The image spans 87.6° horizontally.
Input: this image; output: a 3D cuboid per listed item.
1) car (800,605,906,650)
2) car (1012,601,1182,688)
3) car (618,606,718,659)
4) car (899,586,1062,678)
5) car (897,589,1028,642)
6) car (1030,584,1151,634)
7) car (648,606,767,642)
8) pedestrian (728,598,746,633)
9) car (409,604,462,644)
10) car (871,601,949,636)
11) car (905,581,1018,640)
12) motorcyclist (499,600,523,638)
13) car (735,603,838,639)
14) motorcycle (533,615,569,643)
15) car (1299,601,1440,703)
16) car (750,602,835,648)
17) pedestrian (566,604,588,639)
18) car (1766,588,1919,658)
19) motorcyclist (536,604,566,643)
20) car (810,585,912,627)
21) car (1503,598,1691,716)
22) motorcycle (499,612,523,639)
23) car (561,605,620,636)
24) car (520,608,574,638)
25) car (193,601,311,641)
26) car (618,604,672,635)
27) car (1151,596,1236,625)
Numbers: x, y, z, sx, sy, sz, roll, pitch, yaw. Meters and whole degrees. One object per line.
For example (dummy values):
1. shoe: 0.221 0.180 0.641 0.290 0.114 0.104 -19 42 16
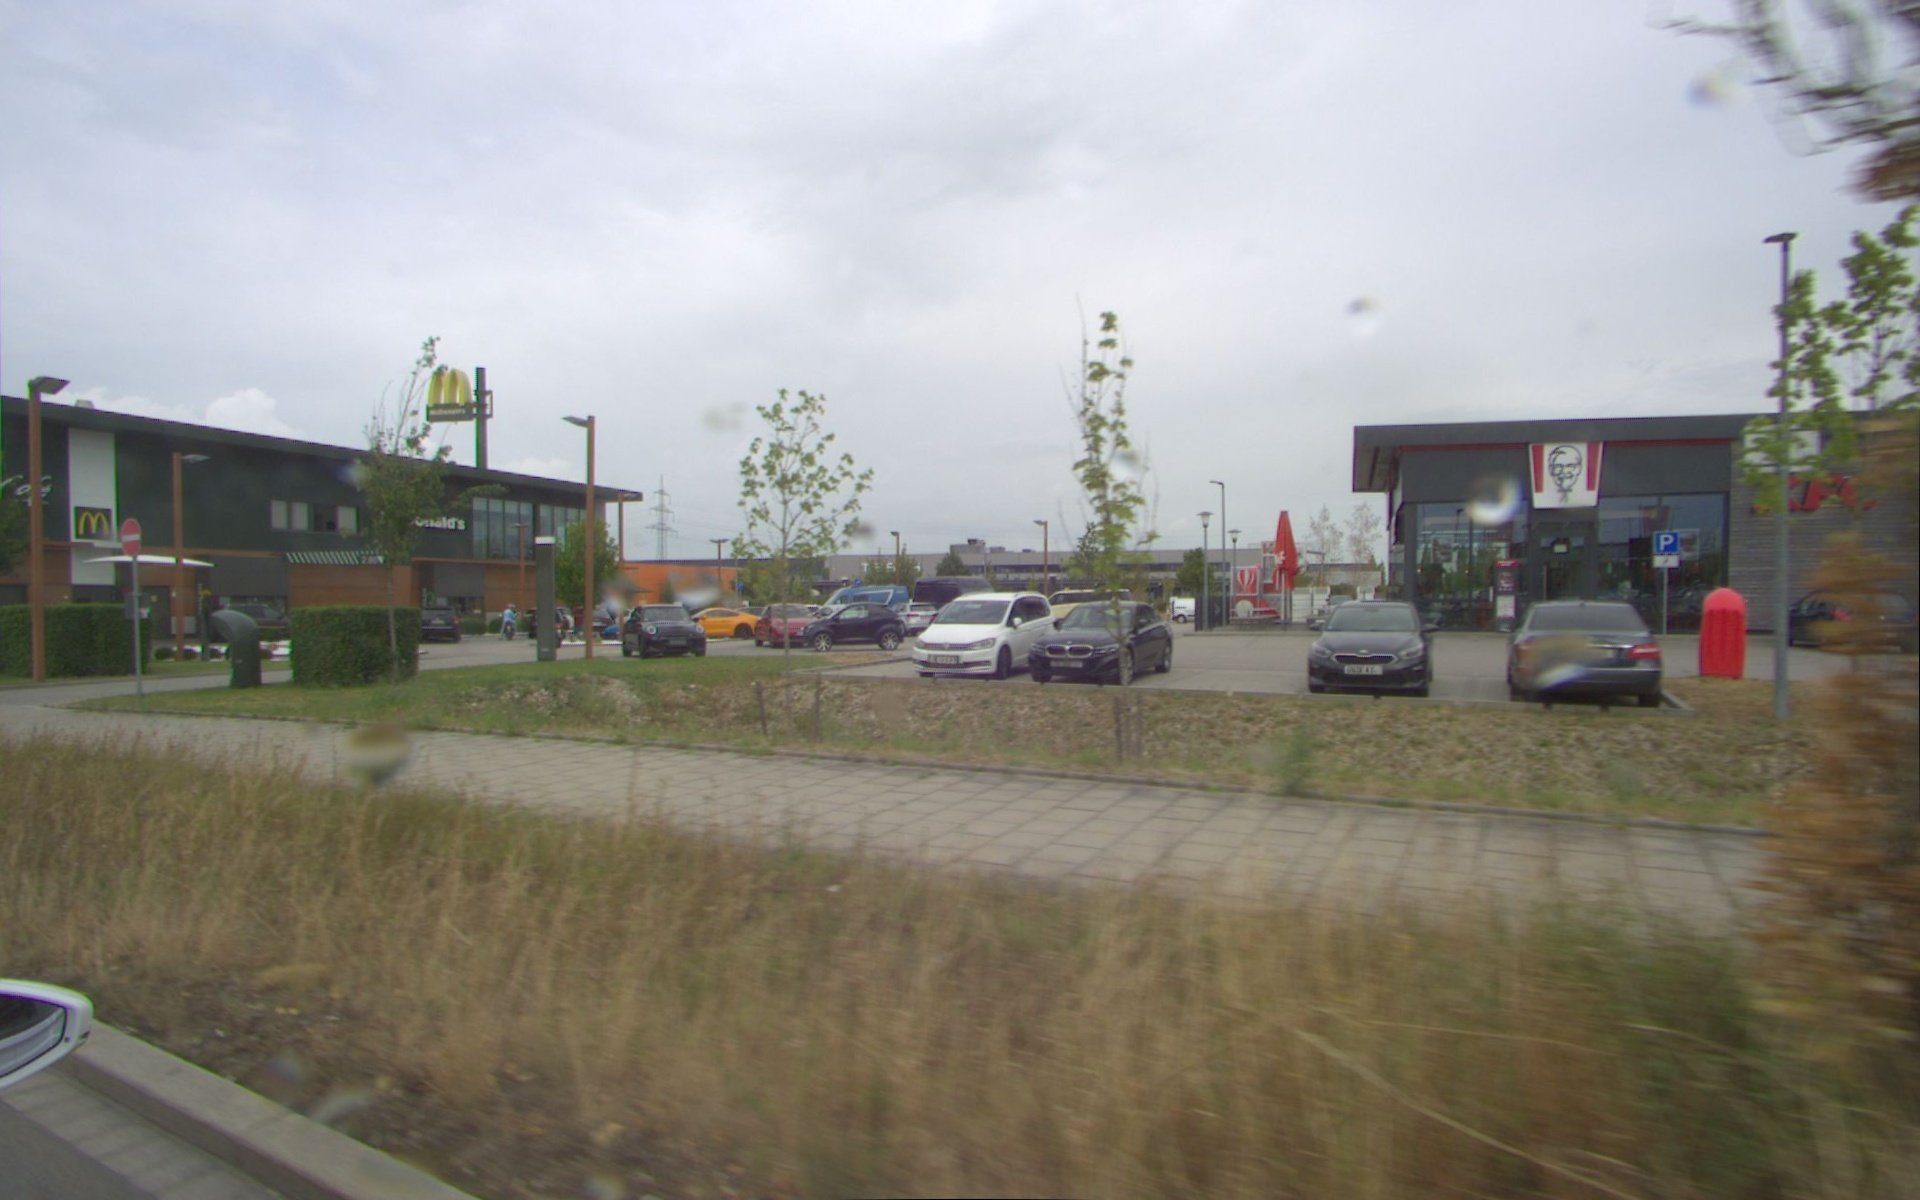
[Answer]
1. car: -3.249 0.825 30.187 3.033 1.326 1.524 0 -1 -12
2. car: 2.774 0.753 19.293 2.040 1.455 4.468 0 0 25
3. car: -8.067 0.831 27.453 1.791 1.330 3.829 0 0 -30
4. car: 0.550 0.584 20.394 1.905 1.661 4.350 0 0 22
5. car: 0.104 0.527 36.502 4.310 1.726 1.997 -2 1 -28
6. car: 6.559 0.458 50.694 5.616 2.382 2.519 0 0 36
7. car: -10.840 1.012 43.091 4.660 1.462 1.992 0 0 -26
8. pedestrian: -10.650 0.755 47.838 0.675 1.649 0.737 0 0 -31
9. car: -24.135 1.104 46.074 2.091 1.739 4.211 0 -1 -28
10. car: -2.255 0.788 43.895 1.926 1.462 4.202 0 0 -26
11. car: -0.086 0.450 46.441 2.246 2.535 7.296 0 0 -27
12. motorcyclist: -21.914 0.931 48.874 0.951 1.856 0.840 0 0 -31
13. car: -8.610 1.025 49.798 4.663 1.678 1.991 0 0 -29
14. motorcycle: -14.647 1.025 35.810 0.732 0.998 1.810 -1 0 -37
15. car: 6.959 0.761 16.775 1.912 1.457 4.082 0 0 26
16. car: -5.763 0.808 34.038 1.973 1.448 4.141 0 0 -23
17. pedestrian: -16.067 0.891 42.052 0.756 1.458 0.623 0 0 -10
18. car: 21.615 0.496 24.276 2.012 1.539 4.366 0 1 22
19. motorcyclist: -14.592 0.839 35.753 0.772 1.352 0.889 -1 0 -38
20. car: -6.120 0.362 62.027 5.943 2.562 2.276 0 0 -20
21. car: 9.305 0.720 15.003 2.000 1.488 4.513 0 0 28
22. motorcycle: -21.932 1.241 48.929 0.847 1.260 1.956 0 -1 -31
23. car: -20.226 1.119 54.713 1.976 1.602 3.969 1 -1 -38
24. car: -21.402 1.186 51.814 1.768 1.516 3.972 0 -1 -36
25. car: -32.003 0.940 45.403 1.965 1.739 3.991 0 -1 21
26. car: -18.366 1.111 58.519 1.961 1.745 4.000 0 -1 -1
27. car: 16.218 0.693 69.543 5.481 1.966 2.313 0 0 21
